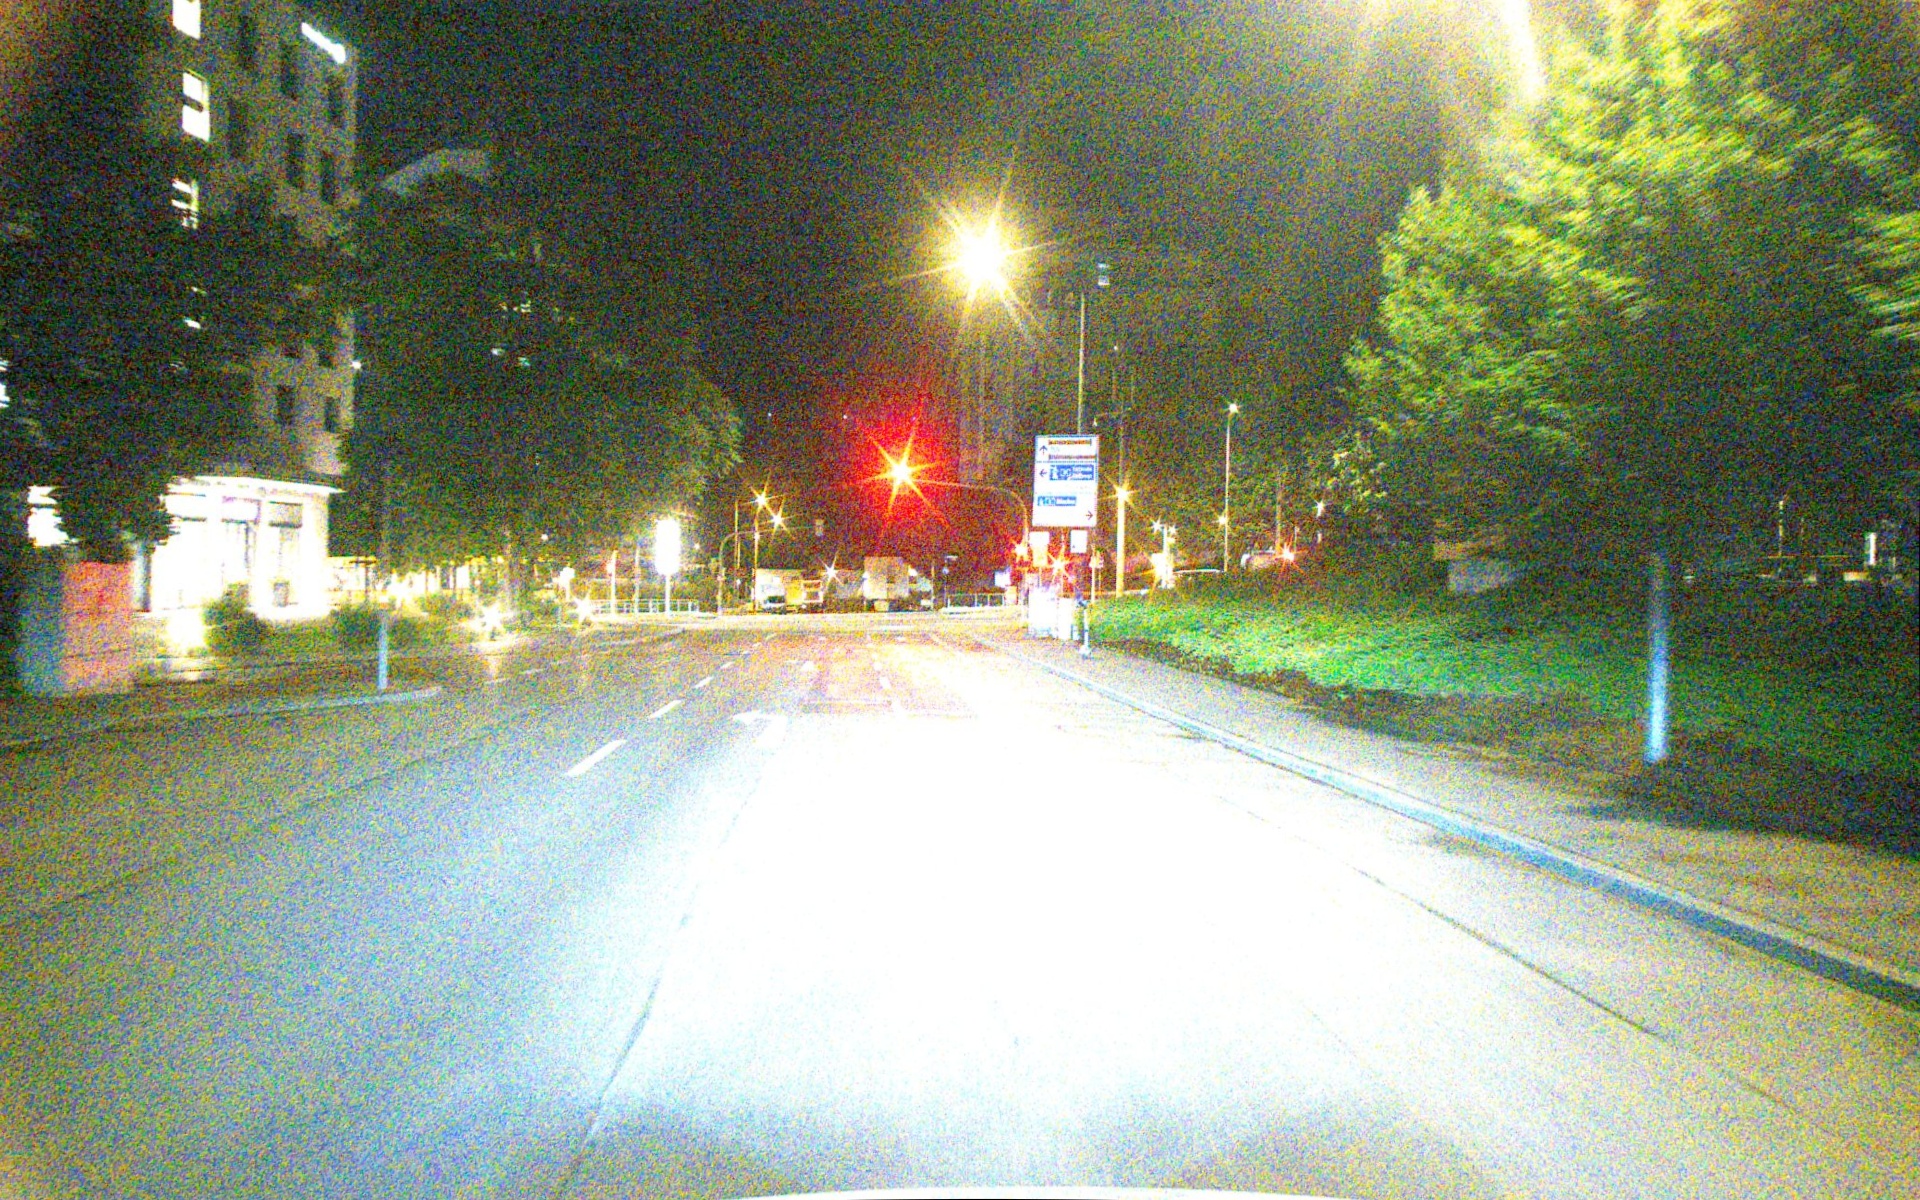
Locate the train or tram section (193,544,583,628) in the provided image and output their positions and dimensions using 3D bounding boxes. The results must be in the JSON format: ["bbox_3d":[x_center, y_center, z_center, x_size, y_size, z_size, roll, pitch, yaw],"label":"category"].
[{"bbox_3d":[-28.781,-0.694,83.578,18.775,3.890,2.924,-1,0,2],"label":"train or tram section"}]

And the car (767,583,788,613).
[{"bbox_3d":[-19.057,-0.226,172.665,1.957,3.026,3.992,0,0,-9],"label":"car"}]

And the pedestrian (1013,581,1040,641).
[{"bbox_3d":[2.262,0.364,56.362,0.726,2.016,0.622,0,0,-20],"label":"pedestrian"}]

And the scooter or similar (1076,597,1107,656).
[{"bbox_3d":[2.928,0.583,36.937,0.484,1.284,1.319,-2,0,-2],"label":"scooter or similar"}]

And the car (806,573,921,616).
[{"bbox_3d":[-10.839,-0.622,185.969,12.191,4.792,4.786,0,0,-18],"label":"car"}]
